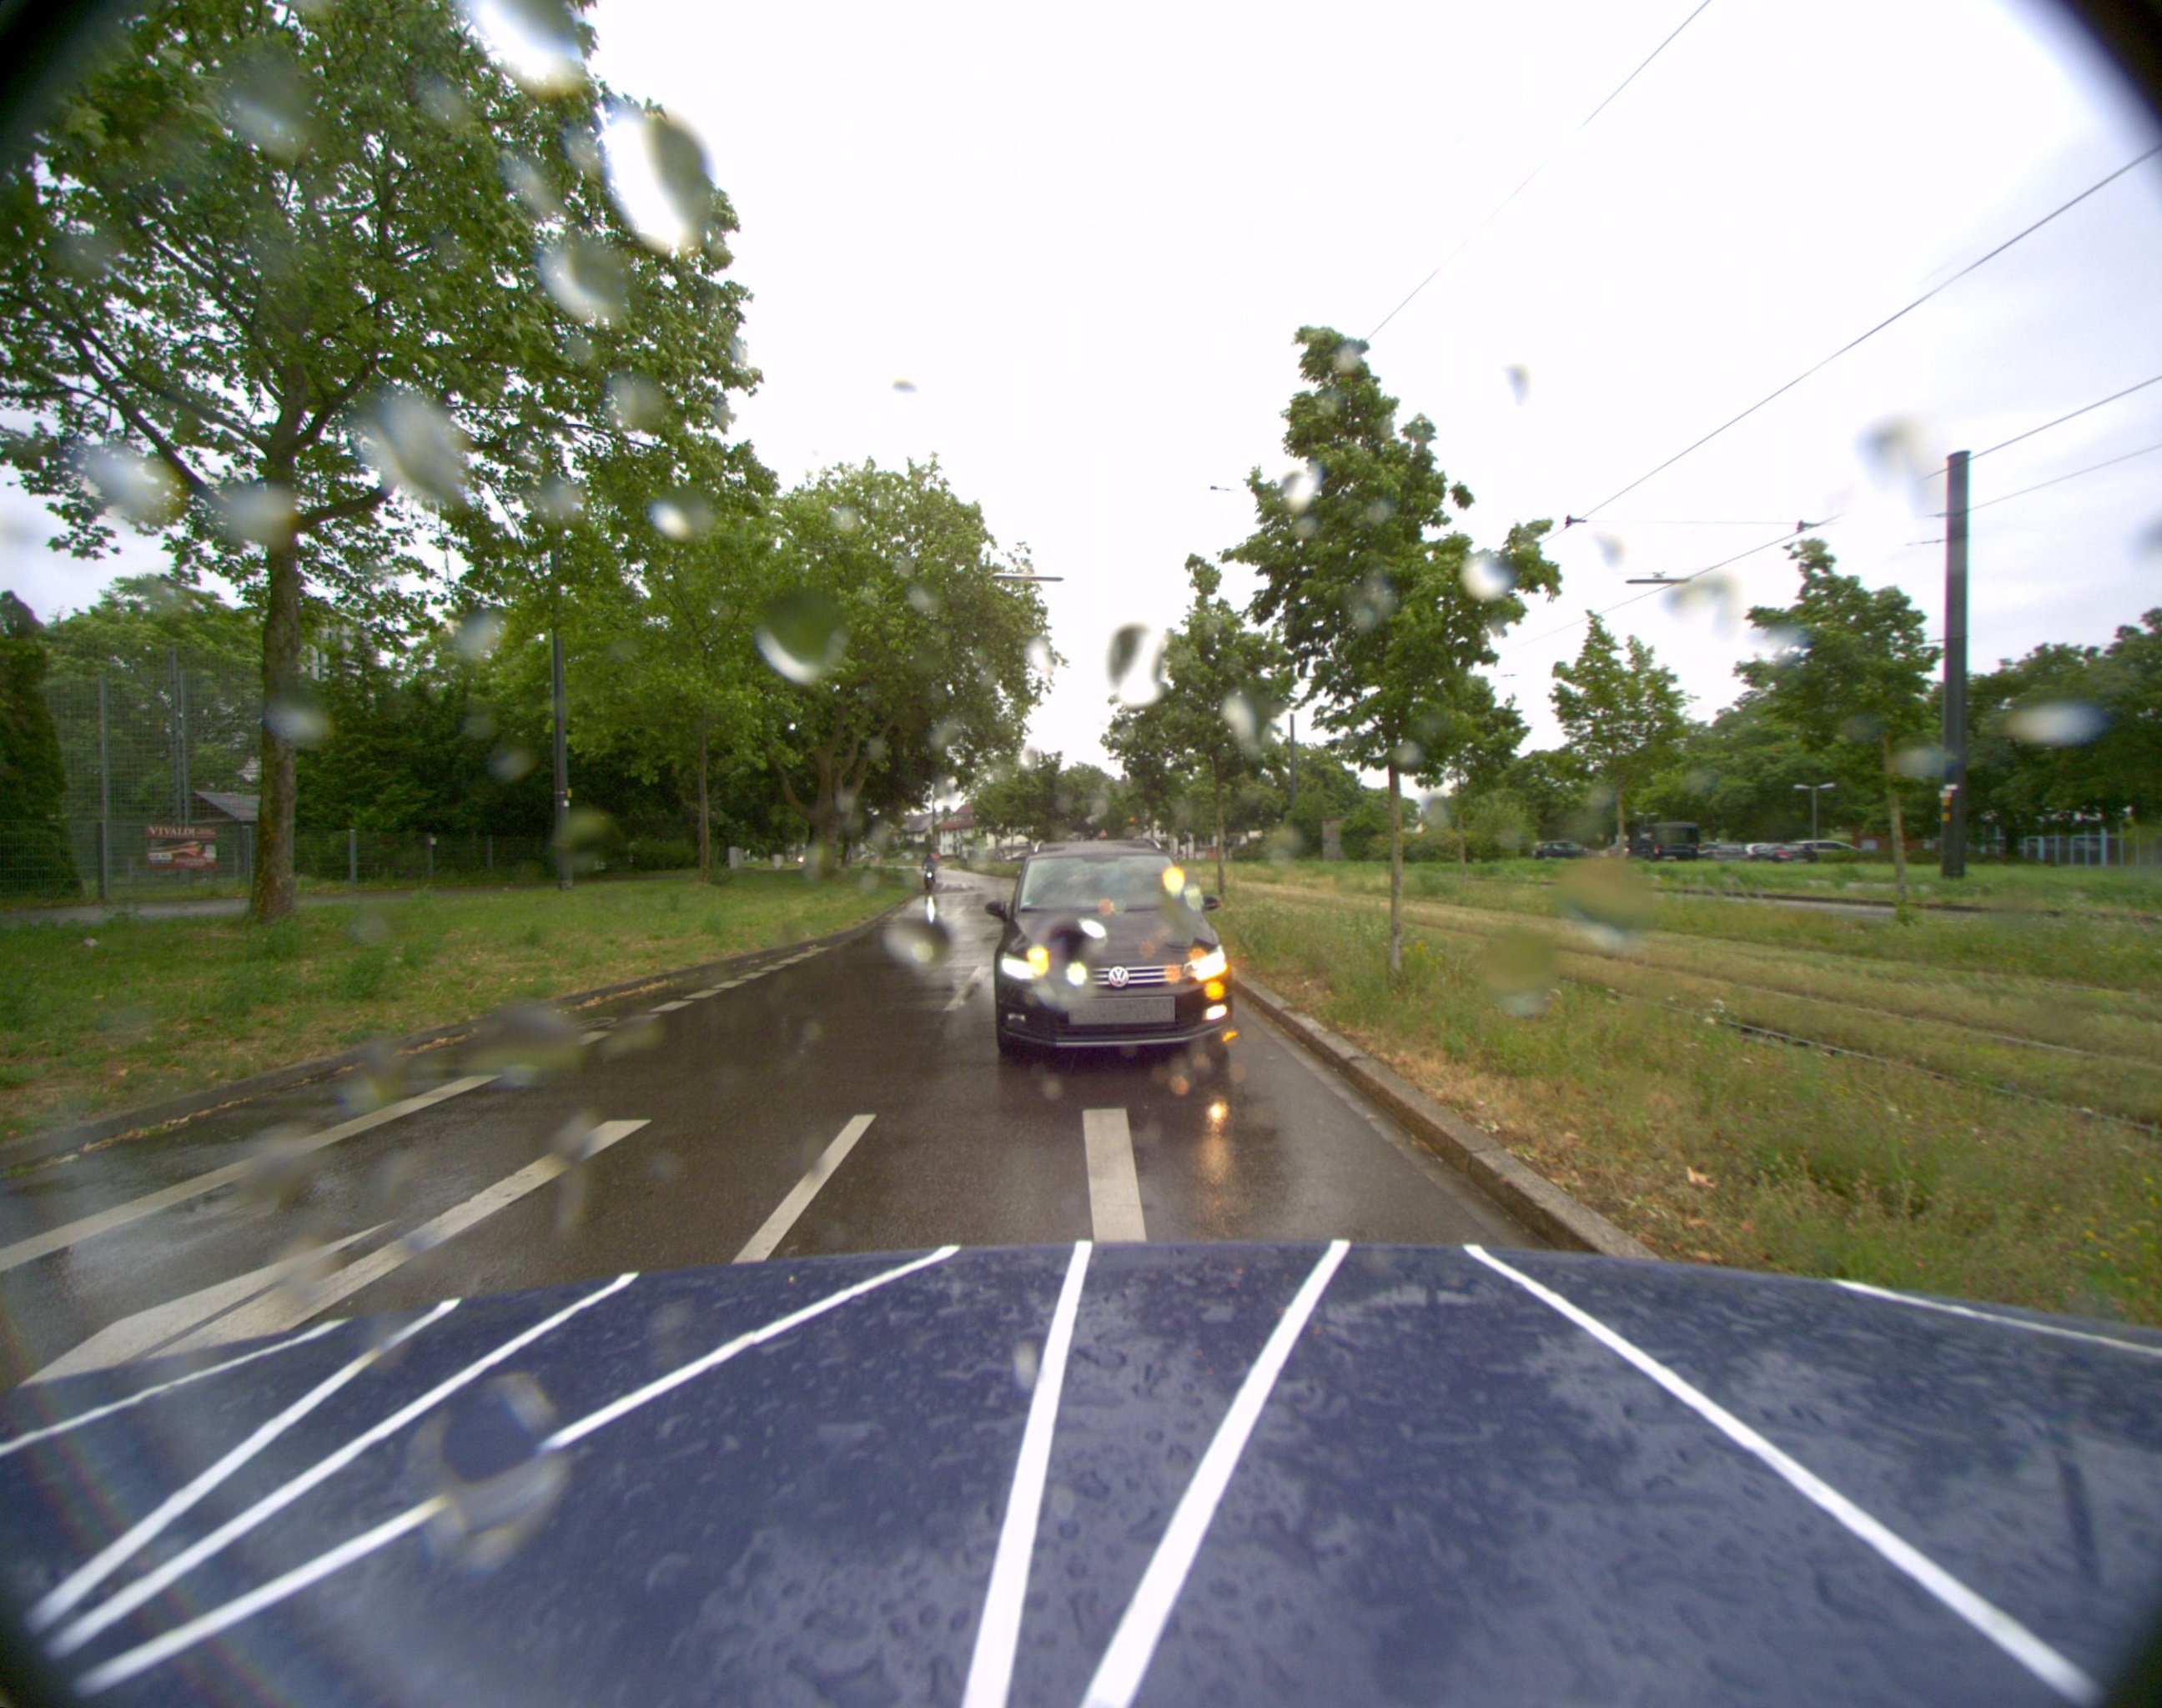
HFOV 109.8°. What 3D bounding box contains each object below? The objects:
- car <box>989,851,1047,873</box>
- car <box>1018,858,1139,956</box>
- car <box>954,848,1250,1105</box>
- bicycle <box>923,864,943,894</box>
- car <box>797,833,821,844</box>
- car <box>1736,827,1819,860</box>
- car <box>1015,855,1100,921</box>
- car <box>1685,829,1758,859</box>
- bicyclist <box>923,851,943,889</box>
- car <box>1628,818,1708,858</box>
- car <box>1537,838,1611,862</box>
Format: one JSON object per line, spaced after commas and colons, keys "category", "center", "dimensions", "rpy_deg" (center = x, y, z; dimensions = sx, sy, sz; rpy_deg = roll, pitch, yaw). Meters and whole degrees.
{"category": "car", "center": [-4.660, 0.569, 55.639], "dimensions": [4.046, 1.412, 1.674], "rpy_deg": [-2, 1, -10]}
{"category": "car", "center": [-0.103, 0.822, 13.593], "dimensions": [1.788, 1.355, 3.996], "rpy_deg": [-2, 1, -2]}
{"category": "car", "center": [0.162, 0.782, 7.195], "dimensions": [1.866, 1.592, 4.524], "rpy_deg": [-2, 1, 1]}
{"category": "bicycle", "center": [-6.065, 0.997, 31.162], "dimensions": [0.693, 1.110, 1.883], "rpy_deg": [-2, 1, -8]}
{"category": "car", "center": [-51.589, -2.952, 143.962], "dimensions": [4.004, 1.816, 1.996], "rpy_deg": [-3, 1, -24]}
{"category": "car", "center": [36.602, -0.599, 40.074], "dimensions": [2.057, 1.563, 5.024], "rpy_deg": [-2, 1, 29]}
{"category": "car", "center": [-0.694, 0.769, 19.115], "dimensions": [1.789, 1.396, 3.791], "rpy_deg": [-2, 1, -6]}
{"category": "car", "center": [34.643, -0.565, 41.266], "dimensions": [1.752, 1.522, 4.856], "rpy_deg": [-2, 1, 24]}
{"category": "bicyclist", "center": [-6.073, 0.657, 31.148], "dimensions": [0.693, 1.497, 0.843], "rpy_deg": [-2, 2, -8]}
{"category": "car", "center": [32.005, -0.880, 41.585], "dimensions": [2.307, 2.002, 5.125], "rpy_deg": [-2, 1, 24]}
{"category": "car", "center": [34.785, -0.287, 53.732], "dimensions": [4.172, 1.474, 1.786], "rpy_deg": [-2, 1, 27]}
